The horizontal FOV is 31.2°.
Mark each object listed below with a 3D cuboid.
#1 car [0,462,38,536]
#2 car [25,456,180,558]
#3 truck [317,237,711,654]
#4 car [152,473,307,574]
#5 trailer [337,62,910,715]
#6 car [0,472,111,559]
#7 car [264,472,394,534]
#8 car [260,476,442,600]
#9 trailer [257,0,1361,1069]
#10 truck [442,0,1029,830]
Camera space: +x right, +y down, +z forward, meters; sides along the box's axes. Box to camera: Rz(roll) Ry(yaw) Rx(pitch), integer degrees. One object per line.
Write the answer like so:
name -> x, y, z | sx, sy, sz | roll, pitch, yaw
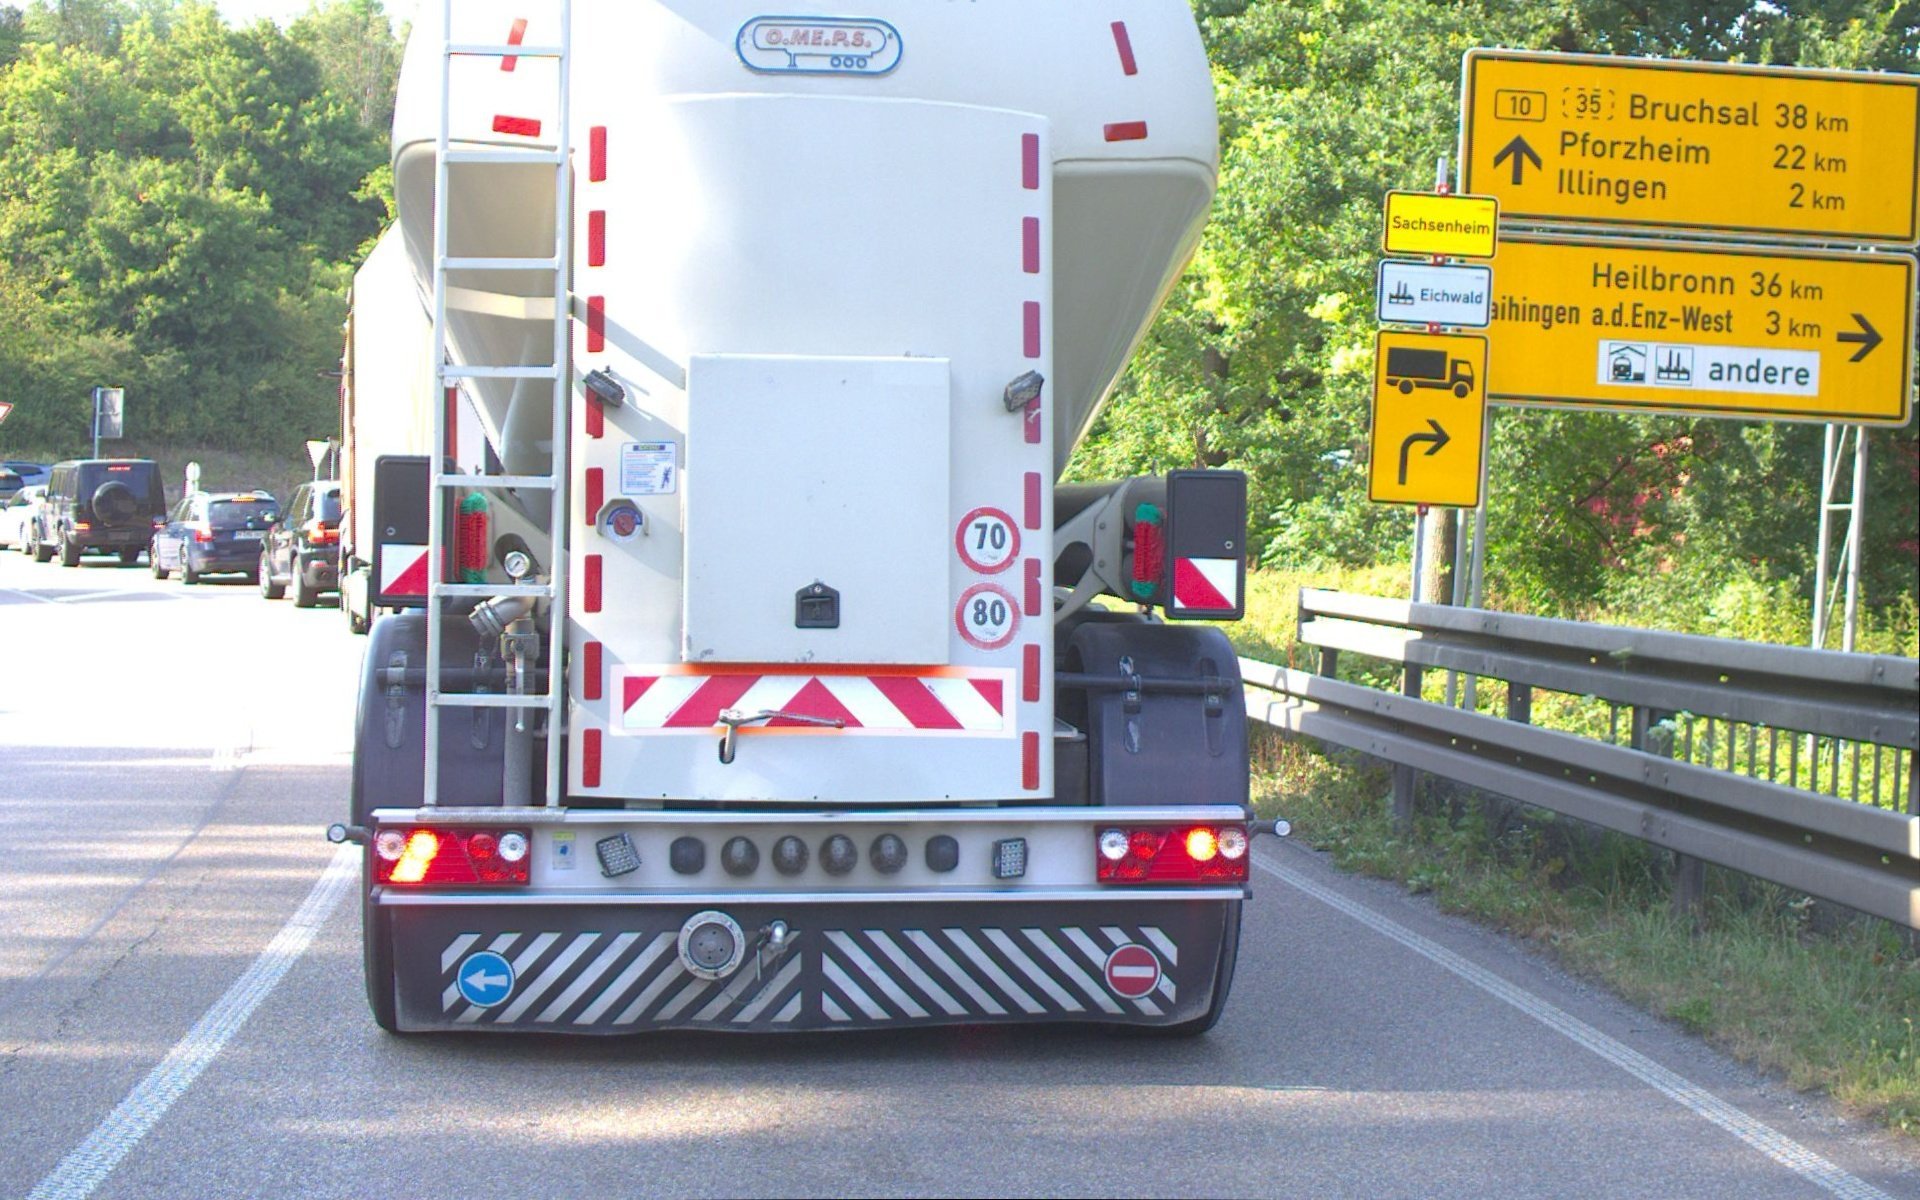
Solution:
car -> -22.191, -2.336, 77.436 | 1.867, 1.589, 4.001 | 2, 1, -28
car -> -16.127, -1.783, 64.536 | 1.956, 1.845, 4.001 | -1, 3, -27
truck -> -5.050, -1.603, 37.735 | 3.449, 4.072, 6.493 | 2, 1, -14
car -> -11.909, -1.268, 55.903 | 1.867, 1.559, 4.001 | -1, 2, -21
trailer -> -3.507, -1.615, 30.735 | 3.544, 4.497, 12.988 | 2, 1, -12
car -> -19.159, -1.796, 71.691 | 1.867, 1.677, 4.001 | 2, 1, -28
car -> -22.507, -3.446, 122.683 | 3.988, 2.007, 1.999 | 2, 1, -40
car -> -8.460, -0.900, 47.497 | 1.867, 1.622, 4.002 | -1, 2, -19
trailer -> -0.799, -1.082, 13.899 | 2.886, 4.439, 9.608 | 1, 1, -5
truck -> -1.483, -0.954, 19.780 | 2.823, 4.021, 5.896 | 1, 1, -8
